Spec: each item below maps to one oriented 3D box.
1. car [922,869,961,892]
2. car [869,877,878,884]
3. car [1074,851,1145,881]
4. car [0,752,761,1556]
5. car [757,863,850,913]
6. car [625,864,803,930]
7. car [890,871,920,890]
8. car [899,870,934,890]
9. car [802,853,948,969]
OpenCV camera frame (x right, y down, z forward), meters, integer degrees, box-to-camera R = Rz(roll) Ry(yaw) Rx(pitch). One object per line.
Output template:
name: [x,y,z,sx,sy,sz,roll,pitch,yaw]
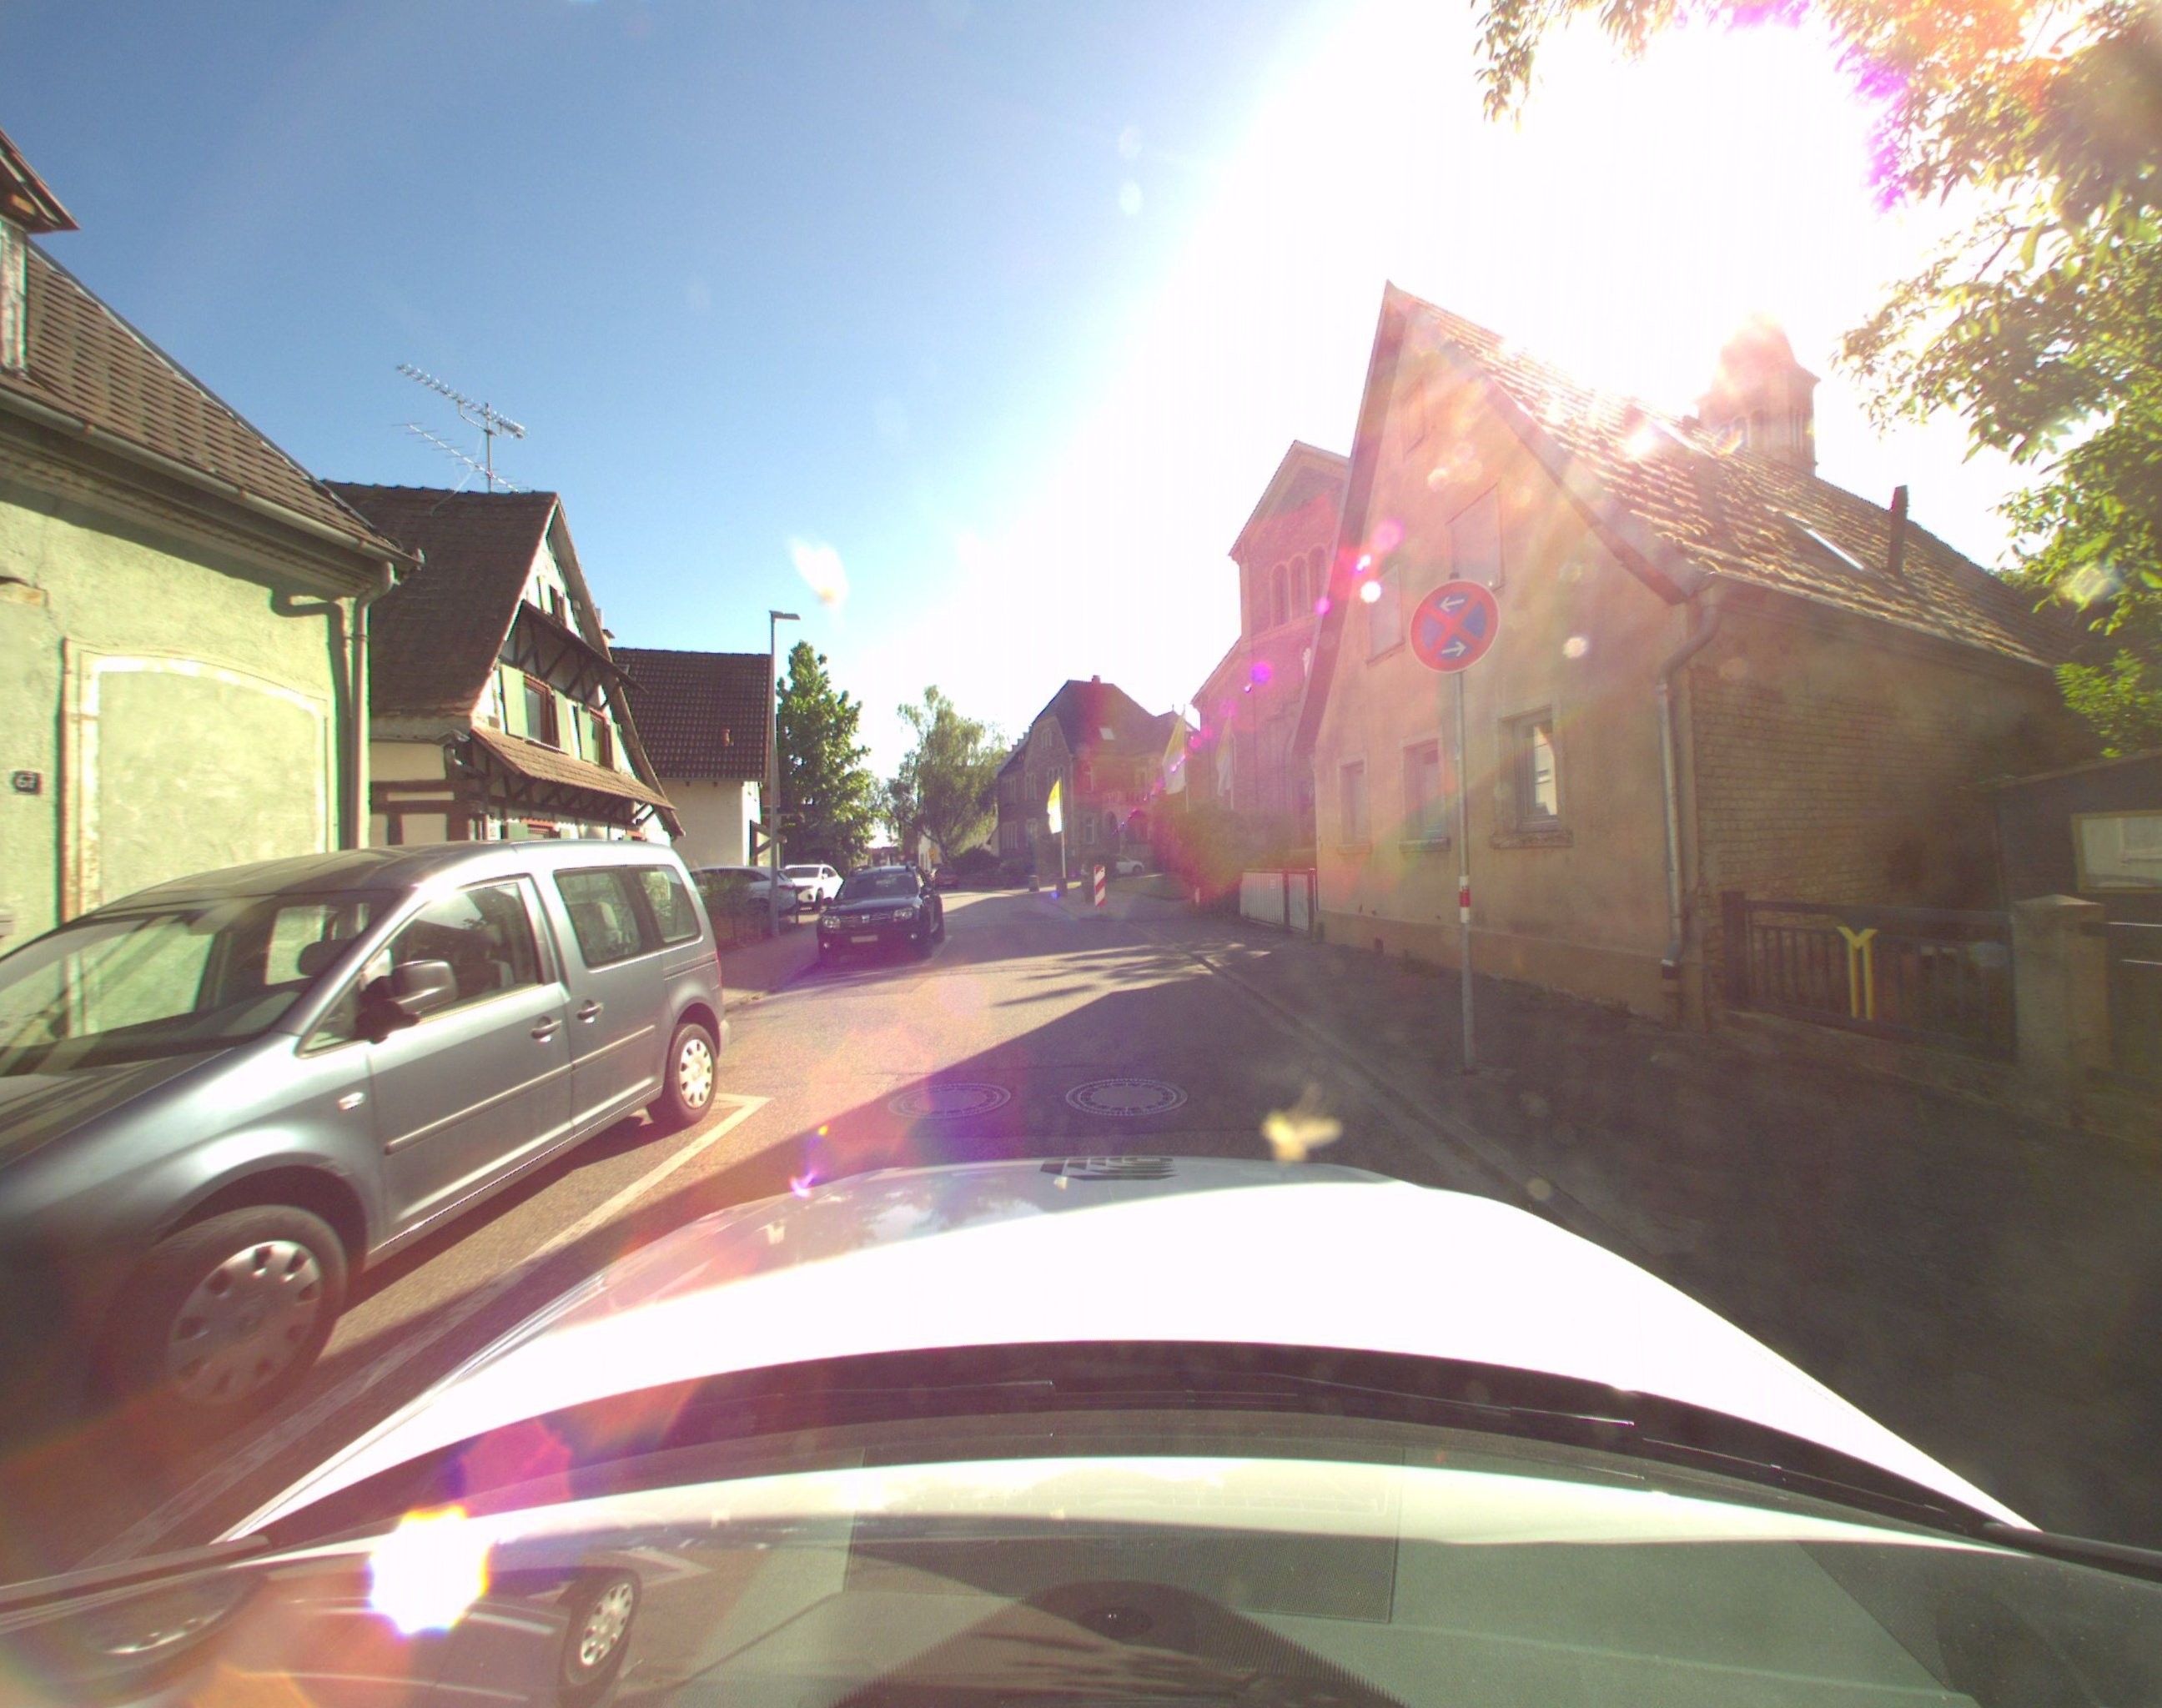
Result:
car: [-9.388,1.749,54.585,1.655,1.479,3.902,0,-1,-24]
car: [-40.364,5.133,158.240,1.590,1.443,3.597,-1,-2,-14]
car: [1.793,0.778,50.916,3.922,1.496,1.886,-5,-1,-29]
car: [-3.327,0.730,3.708,1.826,1.789,4.353,-4,0,1]
car: [-9.616,1.158,28.581,1.812,1.596,4.442,-1,-1,-2]
car: [-9.340,1.055,21.112,4.000,1.589,1.987,0,-1,-20]
car: [-14.442,2.142,66.653,1.813,1.436,4.257,-1,-1,-20]
car: [-12.612,1.995,62.331,1.815,1.436,4.251,0,-1,-24]
car: [-3.584,0.927,14.947,1.830,1.671,4.344,-4,-1,-5]
